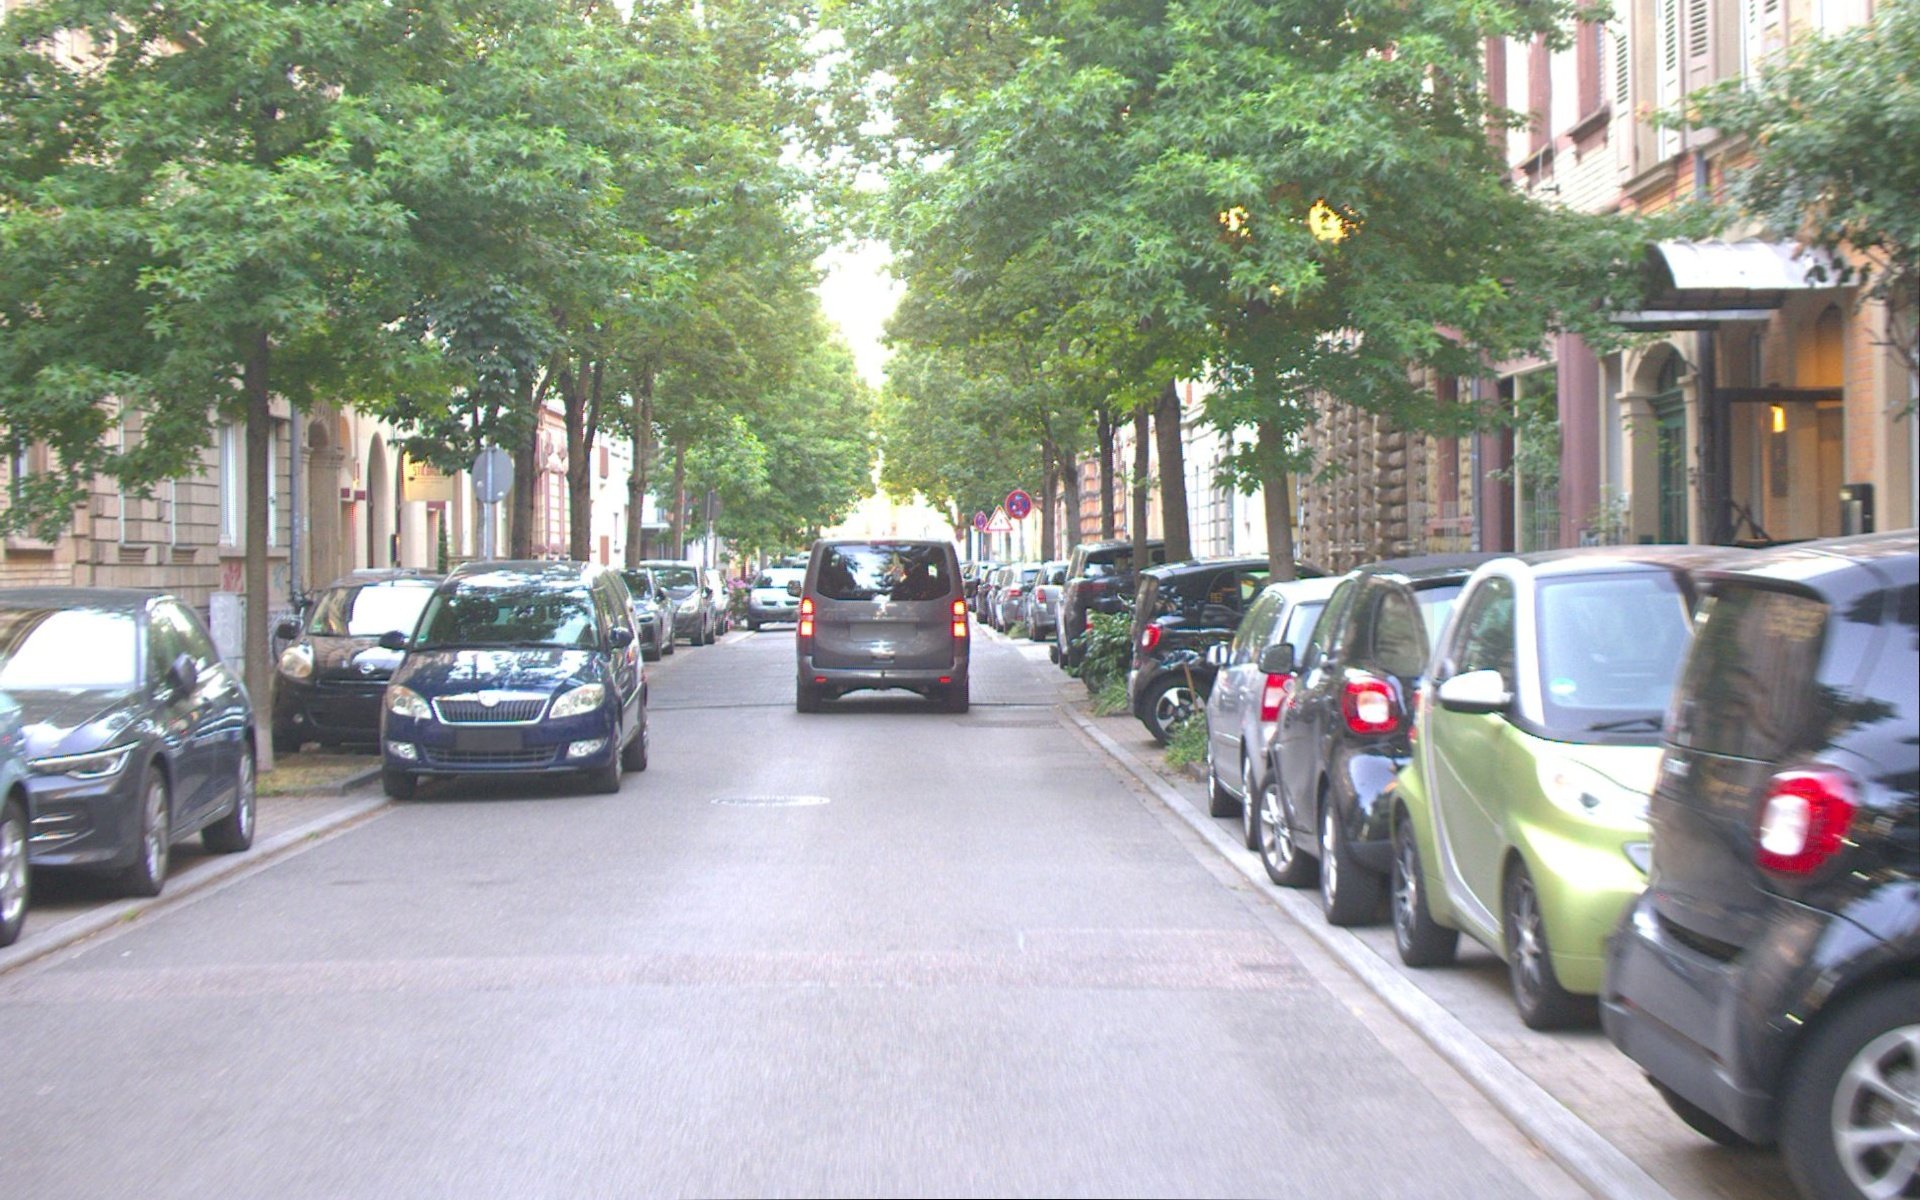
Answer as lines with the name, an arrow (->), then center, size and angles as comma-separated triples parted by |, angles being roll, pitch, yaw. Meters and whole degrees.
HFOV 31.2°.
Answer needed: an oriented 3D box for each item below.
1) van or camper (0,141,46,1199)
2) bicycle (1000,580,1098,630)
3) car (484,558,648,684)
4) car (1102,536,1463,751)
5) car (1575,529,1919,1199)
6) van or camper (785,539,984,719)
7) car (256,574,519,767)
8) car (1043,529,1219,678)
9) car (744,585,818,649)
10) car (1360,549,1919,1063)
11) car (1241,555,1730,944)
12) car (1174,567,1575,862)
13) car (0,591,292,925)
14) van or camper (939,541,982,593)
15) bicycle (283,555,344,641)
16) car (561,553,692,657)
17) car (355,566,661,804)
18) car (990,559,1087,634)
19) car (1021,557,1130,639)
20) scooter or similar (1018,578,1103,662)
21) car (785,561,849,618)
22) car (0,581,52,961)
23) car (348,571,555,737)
van or camper -> -3.072, 0.297, 4.607 | 2.219, 2.422, 5.661 | -1, 1, -1
bicycle -> 1.840, 0.096, 70.760 | 1.915, 0.978, 0.638 | -1, 1, -22
car -> -5.219, 0.241, 45.934 | 1.676, 1.602, 3.861 | 0, 1, 1
car -> 2.690, 0.349, 29.207 | 2.797, 1.594, 1.801 | -4, 0, 0
car -> 2.943, 0.594, 7.885 | 2.714, 1.568, 1.526 | -3, 1, -1
van or camper -> -0.781, 0.287, 38.285 | 2.035, 1.891, 4.271 | 0, 0, 1
car -> -4.742, 0.542, 28.908 | 1.691, 1.496, 3.712 | 1, 0, -2
car -> 2.279, 0.010, 47.042 | 2.013, 1.827, 4.811 | -3, 1, -1
car -> -4.158, 0.385, 80.403 | 1.580, 1.415, 3.753 | -1, 1, -1
car -> 2.418, 0.616, 12.050 | 1.464, 1.547, 2.918 | -1, 1, -4
car -> 2.251, 0.585, 15.437 | 1.591, 1.555, 3.123 | 0, 1, -2
car -> 2.268, 0.572, 19.813 | 1.733, 1.486, 4.104 | -1, 1, -1
car -> -4.633, 0.707, 17.506 | 1.767, 1.457, 4.259 | 0, 1, -2
van or camper -> 0.002, -1.677, 175.869 | 1.993, 2.590, 5.425 | 0, 0, -2
bicycle -> -8.663, -0.039, 46.089 | 0.461, 1.086, 1.629 | 2, 1, 0
car -> -5.374, 0.057, 55.765 | 1.706, 1.575, 4.078 | 1, 1, 0
car -> -3.207, 0.547, 25.087 | 1.723, 1.568, 4.220 | -1, 1, -1
car -> 1.653, -0.100, 73.657 | 1.716, 1.471, 4.368 | -2, 1, -3
car -> 2.143, -0.065, 64.746 | 1.758, 1.458, 4.308 | -1, 1, -1
scooter or similar -> 1.500, 0.297, 51.268 | 0.675, 1.186, 1.113 | -3, 0, 39
car -> -4.086, -0.301, 97.681 | 1.663, 1.558, 4.001 | -1, 1, -4
car -> -4.631, 0.694, 12.428 | 1.684, 1.505, 4.114 | 0, 1, -1
car -> -4.852, 0.479, 33.184 | 1.519, 1.496, 3.561 | 1, 0, -1
